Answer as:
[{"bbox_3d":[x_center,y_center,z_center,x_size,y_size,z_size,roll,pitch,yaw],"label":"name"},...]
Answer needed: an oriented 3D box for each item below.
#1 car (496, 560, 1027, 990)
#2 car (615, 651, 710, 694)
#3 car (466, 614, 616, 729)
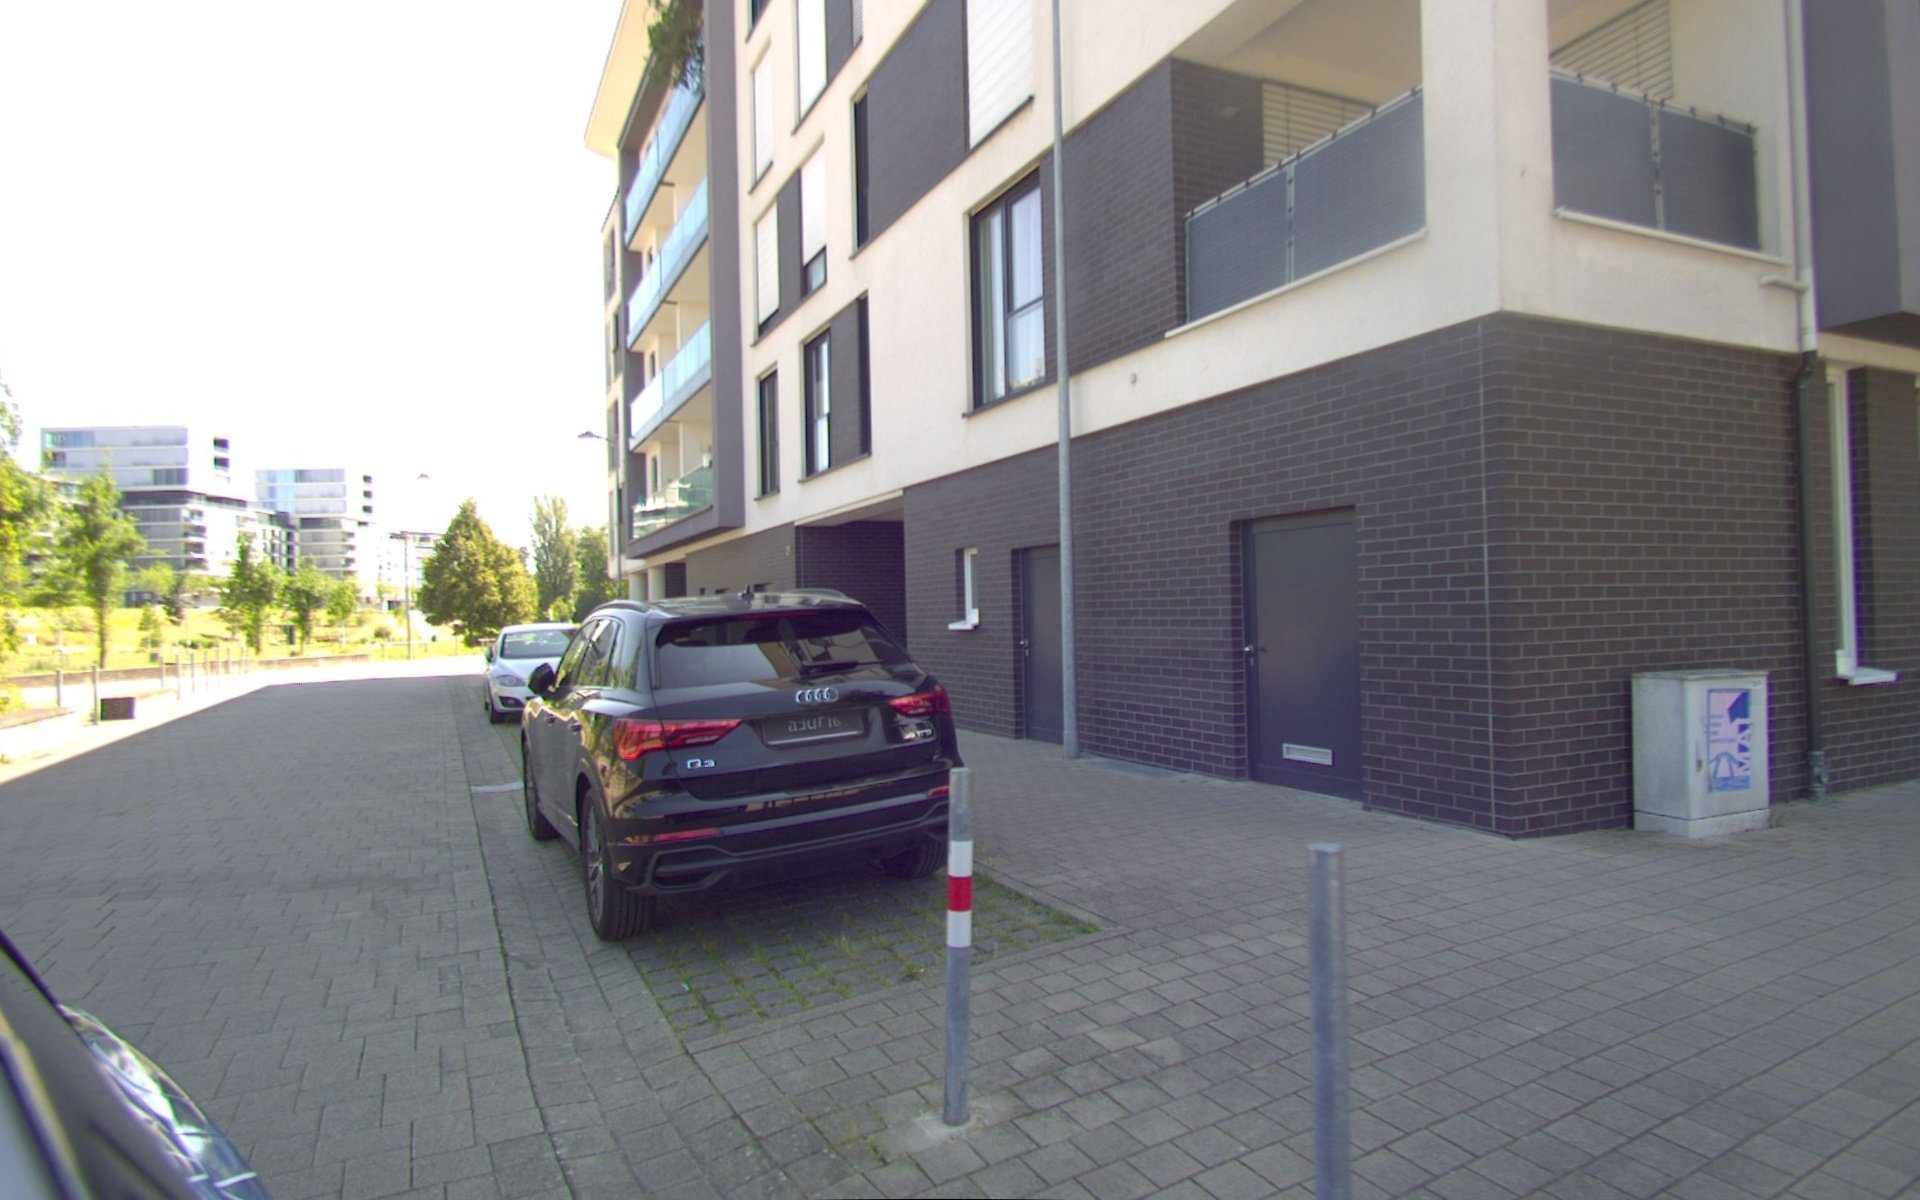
[{"bbox_3d":[-1.581,0.697,6.056,1.749,1.531,4.410,-3,-1,-30],"label":"car"},{"bbox_3d":[-14.418,3.481,49.137,2.000,1.796,3.944,-3,-2,42],"label":"car"},{"bbox_3d":[-6.900,1.082,16.424,1.758,1.516,4.127,-3,0,-29],"label":"car"}]
